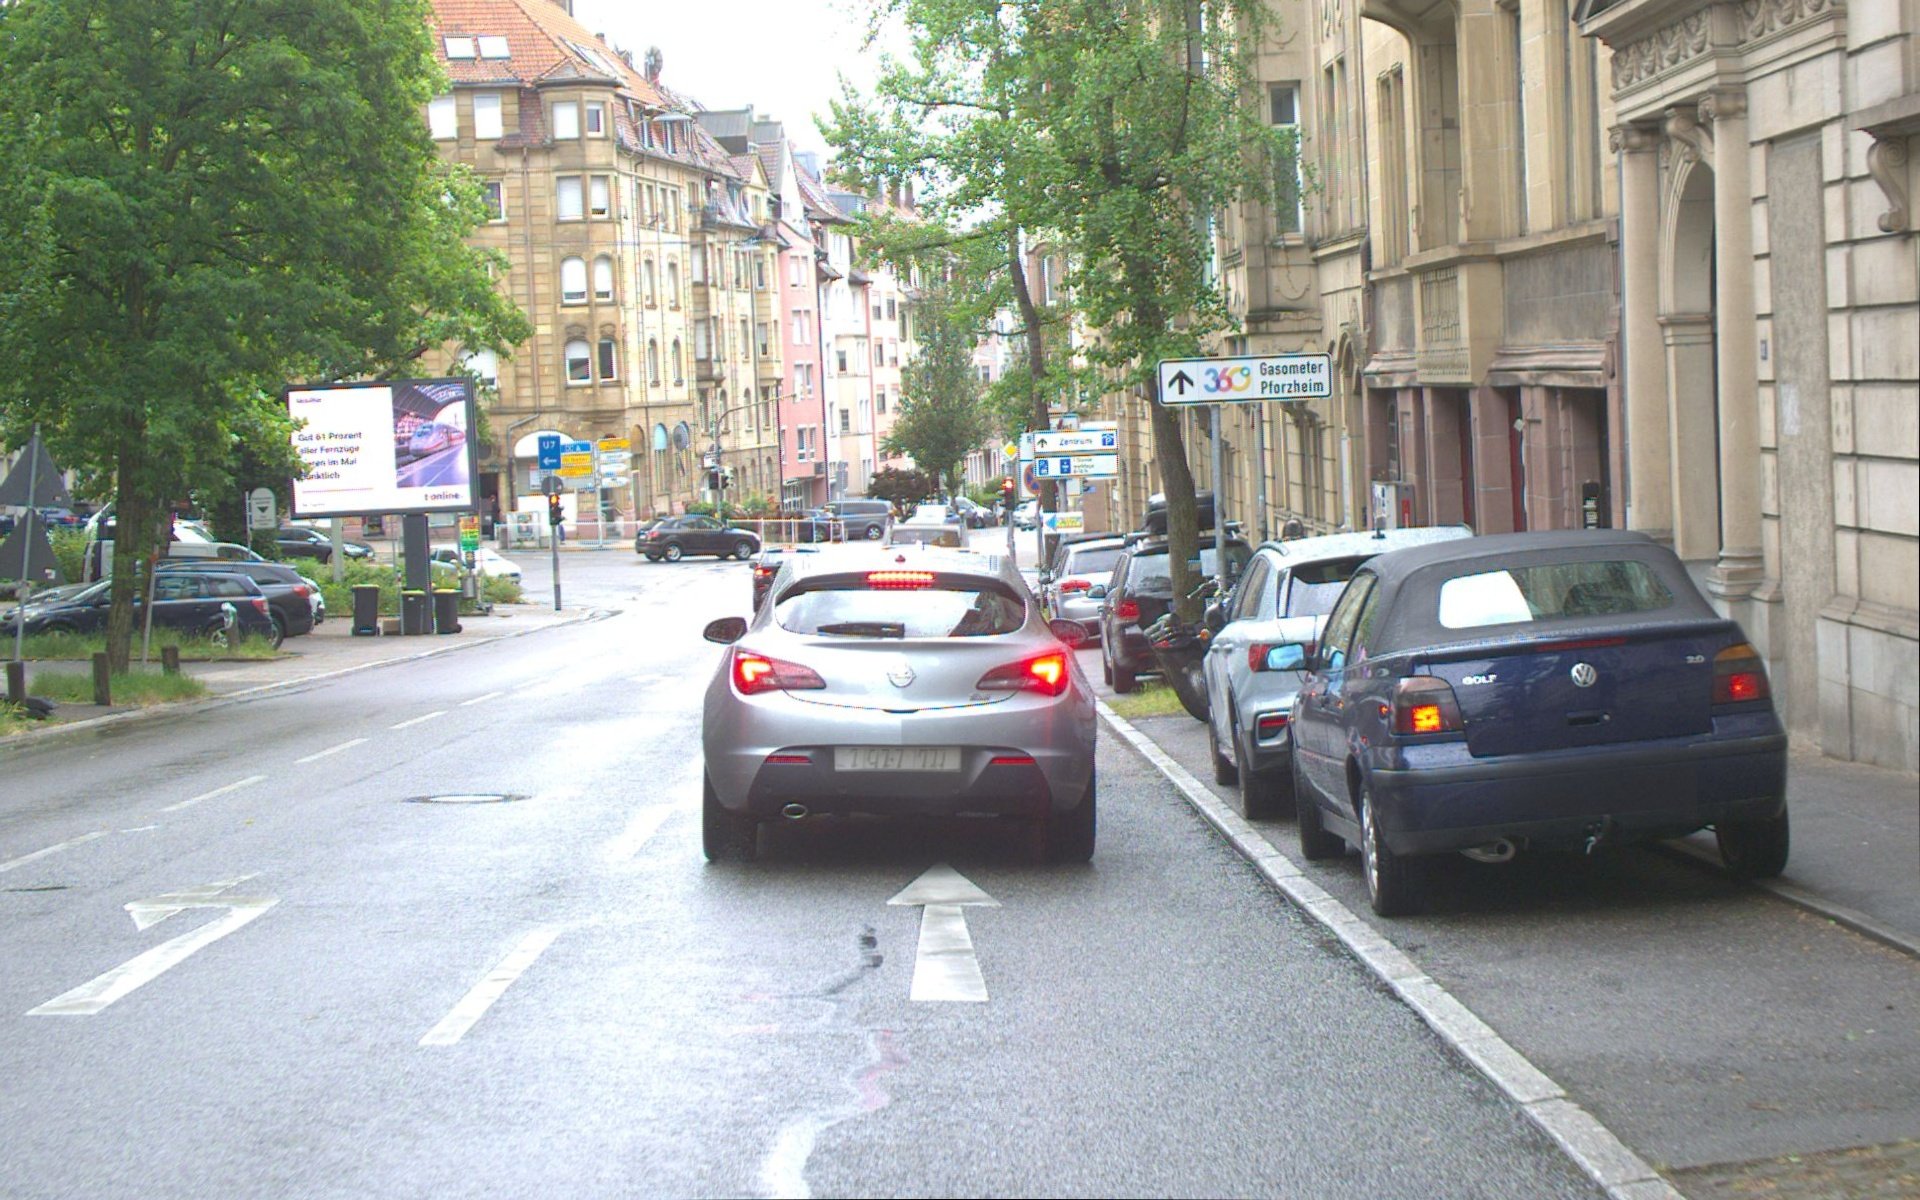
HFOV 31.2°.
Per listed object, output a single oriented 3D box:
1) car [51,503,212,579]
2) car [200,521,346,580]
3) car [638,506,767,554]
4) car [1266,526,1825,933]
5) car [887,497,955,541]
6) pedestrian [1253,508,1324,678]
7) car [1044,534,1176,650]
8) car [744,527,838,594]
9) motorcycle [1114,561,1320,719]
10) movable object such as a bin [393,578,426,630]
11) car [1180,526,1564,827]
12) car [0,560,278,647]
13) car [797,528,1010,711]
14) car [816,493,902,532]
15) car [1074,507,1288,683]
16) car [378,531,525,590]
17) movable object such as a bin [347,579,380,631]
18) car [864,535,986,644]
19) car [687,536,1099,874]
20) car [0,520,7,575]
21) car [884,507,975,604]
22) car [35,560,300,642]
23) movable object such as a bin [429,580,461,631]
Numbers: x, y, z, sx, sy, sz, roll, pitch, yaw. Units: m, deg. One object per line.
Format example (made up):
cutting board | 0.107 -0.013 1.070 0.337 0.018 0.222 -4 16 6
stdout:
car | -26.990 -1.917 112.000 4.708 2.434 1.999 0 0 15
car | -20.883 -1.496 104.493 3.990 1.744 1.751 0 0 16
car | -8.668 -2.371 115.888 4.227 1.579 1.940 0 1 0
car | 2.302 0.440 14.306 1.637 1.424 3.377 -2 1 -1
car | -1.546 -3.218 137.620 1.994 1.678 3.998 1 1 10
pedestrian | 3.632 -0.076 38.050 0.716 1.863 0.636 0 0 -1
car | 2.100 -0.144 49.013 1.637 1.519 3.858 -2 1 0
car | -3.938 -0.942 80.887 1.993 1.495 4.000 -2 1 0
motorcycle | 2.099 0.307 27.871 0.657 1.231 1.977 0 0 39
movable object such as a bin | -11.393 0.089 71.120 0.625 1.055 0.720 1 1 -6
car | 2.220 0.348 19.419 1.637 1.464 3.858 -2 1 0
car | -13.613 0.039 56.926 4.308 1.239 1.643 -3 1 -19
car | -0.529 0.125 30.783 1.772 1.499 3.870 0 2 -2
car | -4.776 -4.154 162.903 3.987 1.744 2.000 1 1 0
car | 2.145 -0.092 34.250 1.637 1.597 3.858 -2 1 -3
car | -15.249 -1.191 103.205 3.989 1.744 1.751 0 0 13
movable object such as a bin | -12.343 0.105 71.189 0.625 1.055 0.634 1 1 -6
car | -0.585 -0.184 53.714 1.656 1.537 3.666 -4 1 -3
car | -0.348 0.428 17.150 1.811 1.444 3.870 0 2 -2
car | -32.031 -1.644 107.477 3.990 1.744 1.751 0 0 16
car | -0.576 -0.854 65.465 1.656 1.776 3.665 -1 1 0
car | -13.823 -0.002 59.944 4.308 1.239 1.643 -3 1 -19
movable object such as a bin | -10.817 0.118 72.219 0.658 1.055 0.627 1 1 -9
